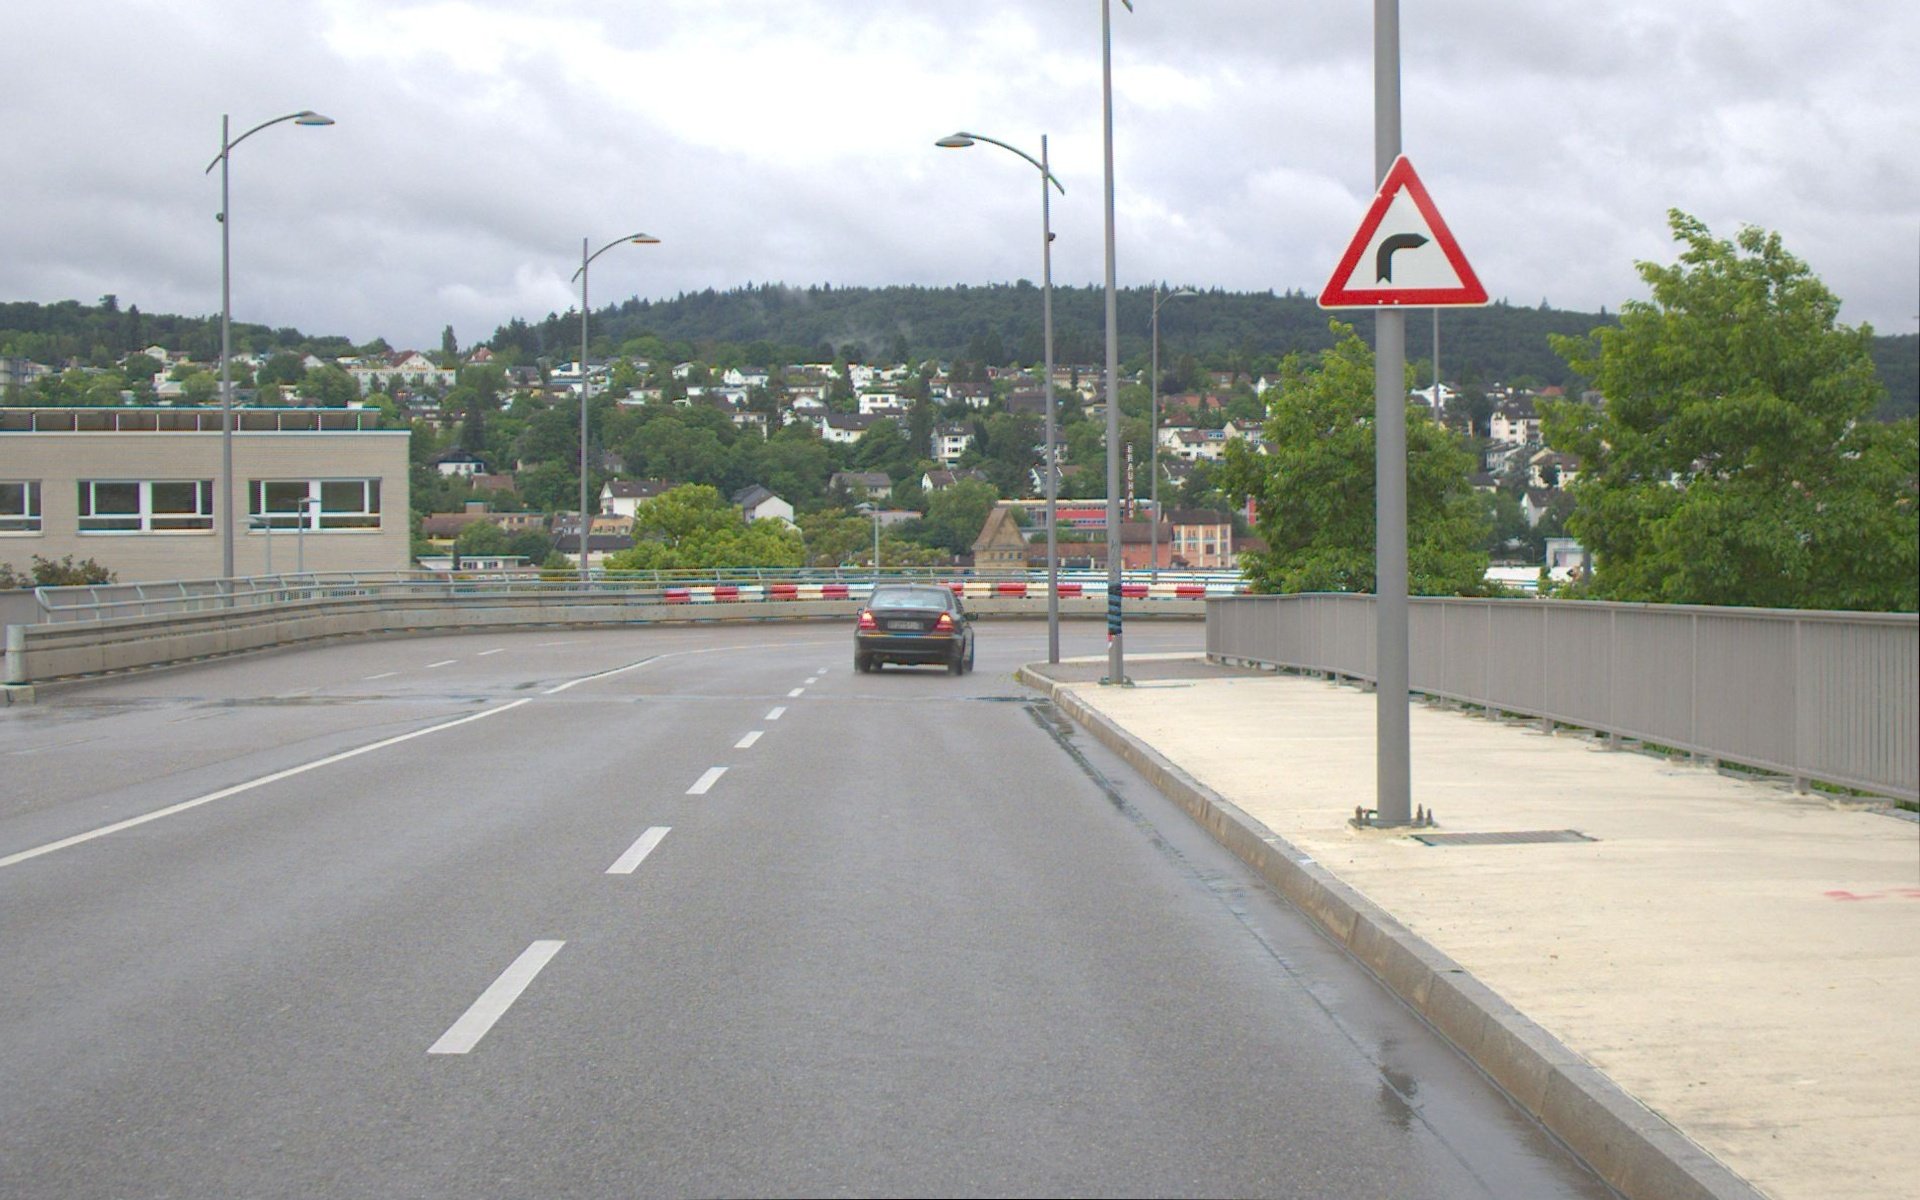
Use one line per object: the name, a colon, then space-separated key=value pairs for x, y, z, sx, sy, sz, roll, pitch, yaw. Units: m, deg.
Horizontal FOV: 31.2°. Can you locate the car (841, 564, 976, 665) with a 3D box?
car: x=-0.778 y=0.205 z=54.360 sx=1.706 sy=1.414 sz=3.725 roll=4 pitch=1 yaw=4
